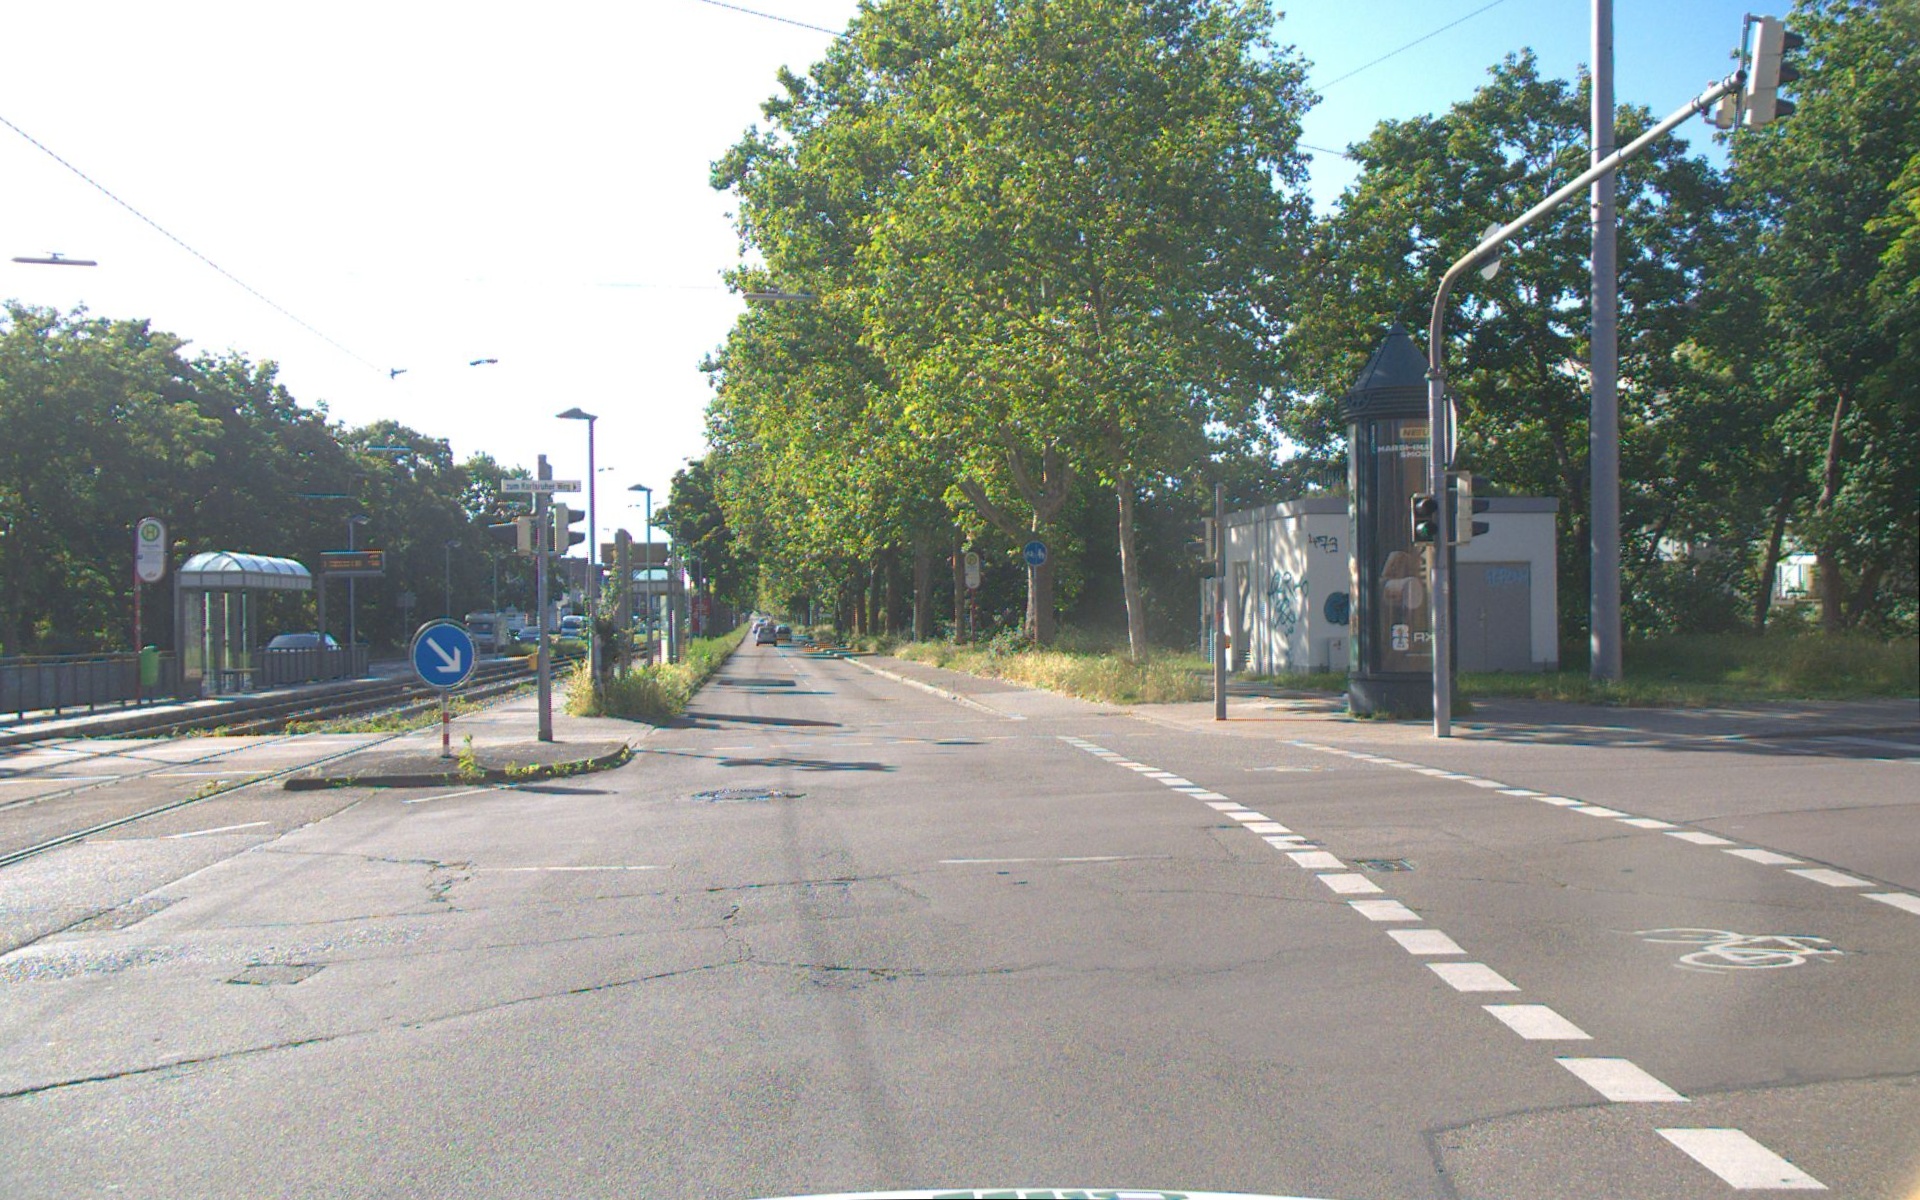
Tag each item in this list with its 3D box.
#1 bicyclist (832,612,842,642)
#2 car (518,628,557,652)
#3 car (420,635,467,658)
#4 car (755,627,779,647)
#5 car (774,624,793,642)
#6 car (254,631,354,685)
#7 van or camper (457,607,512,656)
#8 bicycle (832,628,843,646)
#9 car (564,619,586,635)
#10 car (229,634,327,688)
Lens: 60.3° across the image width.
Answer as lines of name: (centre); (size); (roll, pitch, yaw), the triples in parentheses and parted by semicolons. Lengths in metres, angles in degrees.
bicyclist: (-7.467, 1.663, 100.743); (0.524, 1.801, 0.711); (-1, -1, -9)
car: (-27.189, 2.553, 106.488); (1.956, 1.495, 4.367); (-1, -1, -8)
car: (-31.107, 2.771, 99.785); (1.883, 1.288, 3.995); (-1, -1, -5)
car: (-14.646, 2.818, 125.575); (1.832, 1.512, 3.550); (0, -1, -7)
car: (-16.948, 3.148, 158.891); (1.717, 1.632, 3.744); (0, -1, -7)
car: (-20.863, 1.816, 52.774); (1.883, 1.594, 3.995); (-1, -1, -5)
van or camper: (-32.247, 2.099, 112.386); (2.540, 3.160, 6.777); (-1, -1, -7)
bicycle: (-7.447, 2.265, 100.719); (0.526, 1.085, 1.430); (-1, -1, -9)
car: (-39.223, 2.756, 168.410); (1.710, 1.522, 3.587); (-1, -1, -6)
car: (-20.455, 1.799, 49.756); (1.771, 1.492, 3.993); (-1, -1, -8)
